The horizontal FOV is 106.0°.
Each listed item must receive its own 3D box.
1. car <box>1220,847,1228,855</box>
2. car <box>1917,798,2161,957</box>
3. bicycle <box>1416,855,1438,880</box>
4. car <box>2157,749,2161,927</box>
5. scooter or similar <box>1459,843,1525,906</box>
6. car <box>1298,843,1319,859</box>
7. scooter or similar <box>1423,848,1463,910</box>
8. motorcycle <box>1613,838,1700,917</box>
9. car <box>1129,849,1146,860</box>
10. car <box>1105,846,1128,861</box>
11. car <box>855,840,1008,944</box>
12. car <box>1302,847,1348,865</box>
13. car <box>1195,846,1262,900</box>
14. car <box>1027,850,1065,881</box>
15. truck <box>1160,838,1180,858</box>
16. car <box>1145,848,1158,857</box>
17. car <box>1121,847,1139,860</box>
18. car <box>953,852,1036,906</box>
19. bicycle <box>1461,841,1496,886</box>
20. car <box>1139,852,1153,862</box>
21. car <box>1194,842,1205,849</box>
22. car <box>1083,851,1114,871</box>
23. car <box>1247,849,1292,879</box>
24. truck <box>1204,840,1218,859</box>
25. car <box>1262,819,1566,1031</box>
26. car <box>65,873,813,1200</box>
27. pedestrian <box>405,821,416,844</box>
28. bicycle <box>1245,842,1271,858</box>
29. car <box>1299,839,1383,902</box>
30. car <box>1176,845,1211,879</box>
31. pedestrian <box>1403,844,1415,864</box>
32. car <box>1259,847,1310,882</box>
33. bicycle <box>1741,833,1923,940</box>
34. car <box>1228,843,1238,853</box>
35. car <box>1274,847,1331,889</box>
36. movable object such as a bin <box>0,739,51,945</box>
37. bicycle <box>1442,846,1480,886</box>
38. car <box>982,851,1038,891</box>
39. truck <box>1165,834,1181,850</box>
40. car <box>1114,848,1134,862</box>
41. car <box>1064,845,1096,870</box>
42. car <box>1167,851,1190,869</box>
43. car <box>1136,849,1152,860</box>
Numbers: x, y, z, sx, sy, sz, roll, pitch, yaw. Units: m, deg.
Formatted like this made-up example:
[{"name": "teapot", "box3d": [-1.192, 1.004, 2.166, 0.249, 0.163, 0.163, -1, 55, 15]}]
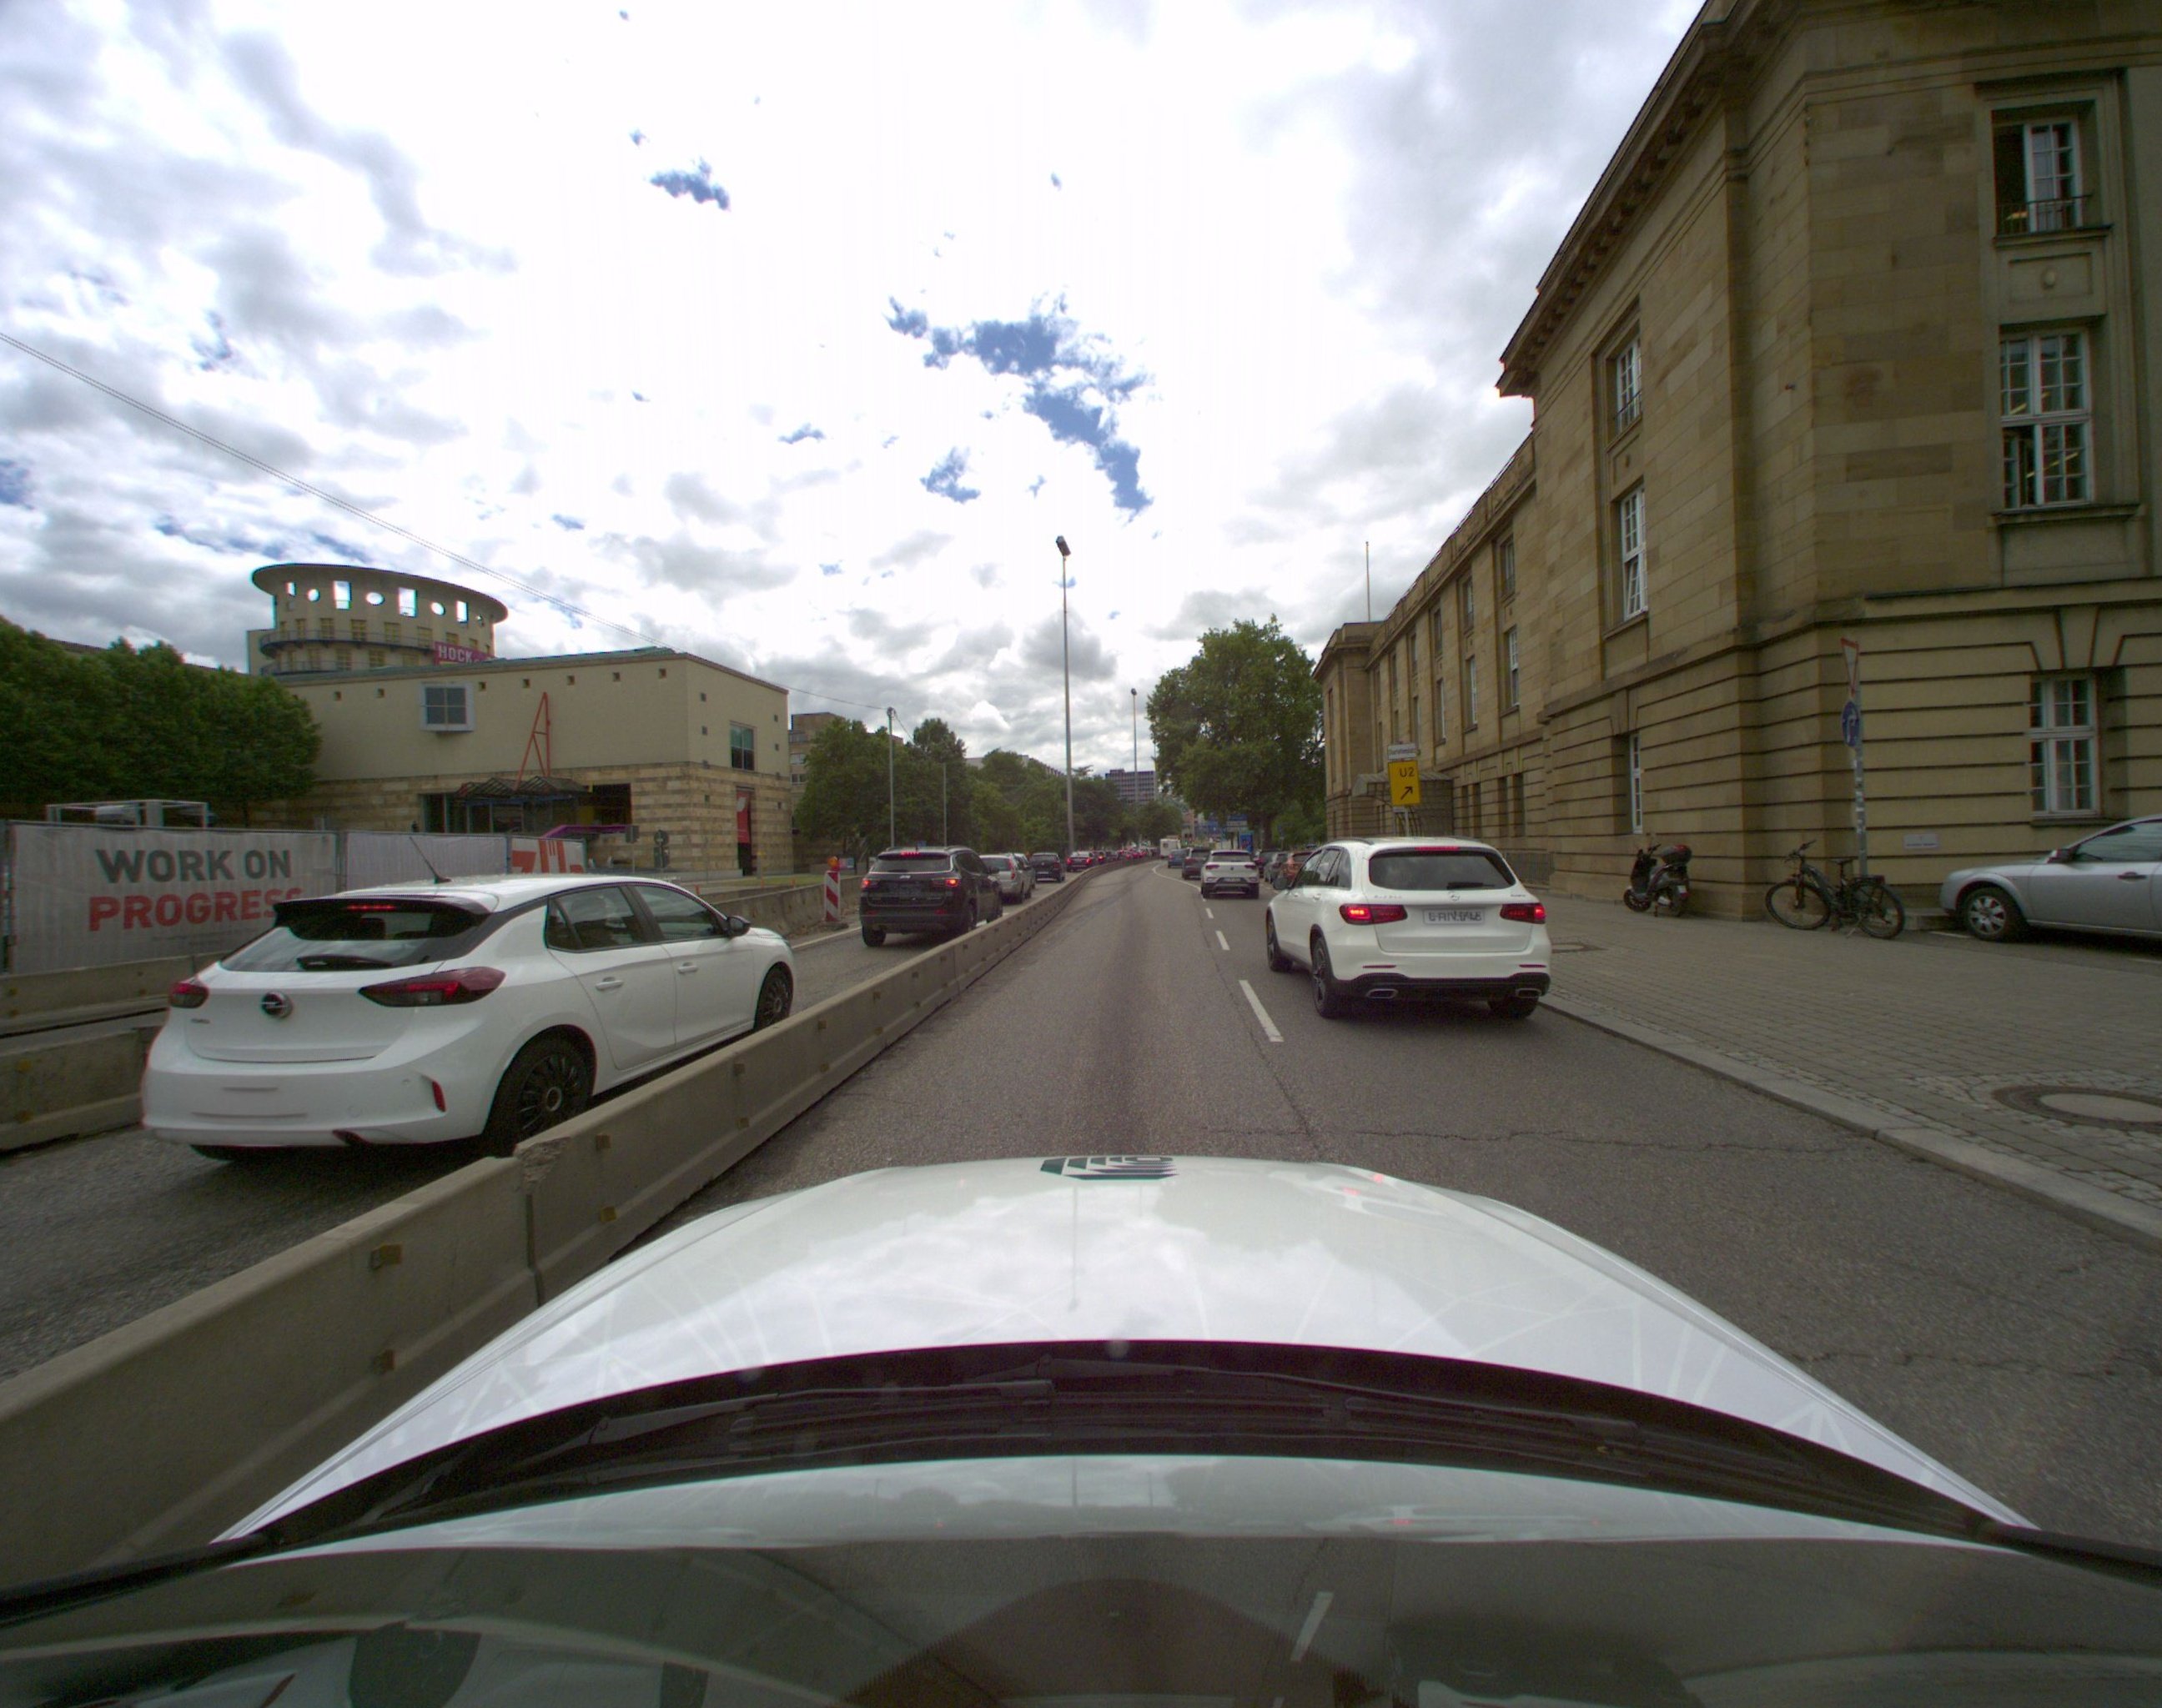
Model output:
[{"name": "car", "box3d": [32.680, -0.715, 186.374, 1.748, 1.669, 4.179, -1, 0, 9]}, {"name": "car", "box3d": [10.906, 0.205, 7.674, 1.768, 1.469, 4.584, -1, 1, 7]}, {"name": "bicycle", "box3d": [12.841, 0.490, 30.271, 0.304, 0.844, 1.883, -2, 0, 10]}, {"name": "car", "box3d": [13.186, -0.159, 6.935, 1.938, 2.069, 4.926, -1, 1, 7]}, {"name": "scooter or similar", "box3d": [8.609, 0.430, 17.119, 0.451, 1.253, 1.363, -1, -1, -12]}, {"name": "car", "box3d": [24.490, -0.340, 87.757, 1.749, 1.551, 4.038, -1, 2, 10]}, {"name": "scooter or similar", "box3d": [7.705, 0.502, 17.364, 0.377, 1.261, 1.406, -1, 0, 8]}, {"name": "motorcycle", "box3d": [9.831, 0.376, 13.986, 0.452, 1.242, 1.929, -2, 0, 12]}, {"name": "car", "box3d": [7.125, 0.028, 102.385, 1.648, 1.319, 3.558, 0, 0, 11]}, {"name": "car", "box3d": [3.463, -0.068, 78.003, 1.668, 1.367, 4.554, -1, 0, 9]}, {"name": "car", "box3d": [-2.527, 0.600, 14.739, 1.768, 1.621, 4.050, 0, 0, 4]}, {"name": "car", "box3d": [22.562, 0.197, 75.360, 3.813, 1.568, 1.683, -1, 0, 8]}, {"name": "car", "box3d": [4.779, 0.572, 26.793, 1.787, 1.608, 3.759, -1, 0, 4]}, {"name": "car", "box3d": [-1.675, 0.537, 40.310, 1.653, 1.454, 4.198, 0, 0, 1]}, {"name": "truck", "box3d": [13.024, -0.923, 119.103, 2.606, 2.861, 7.095, 0, 0, 8]}, {"name": "car", "box3d": [11.021, -0.186, 126.824, 1.649, 1.319, 3.557, 0, 0, 10]}, {"name": "car", "box3d": [5.703, -0.034, 94.901, 1.766, 1.420, 4.008, -1, 0, 7]}, {"name": "car", "box3d": [-2.552, 0.697, 25.161, 1.871, 1.481, 4.707, 0, 0, 2]}, {"name": "bicycle", "box3d": [11.877, 0.281, 24.373, 0.410, 1.288, 1.794, -1, 0, 8]}, {"name": "car", "box3d": [9.343, 0.432, 116.518, 1.649, 1.319, 3.557, 0, 0, 10]}, {"name": "car", "box3d": [22.753, -1.546, 155.925, 1.935, 1.319, 4.028, 0, 0, 10]}, {"name": "car", "box3d": [1.451, 0.566, 65.321, 1.806, 1.499, 4.781, -1, 0, 9]}, {"name": "car", "box3d": [9.857, 0.485, 42.816, 1.779, 1.486, 4.333, 0, 0, 6]}, {"name": "truck", "box3d": [28.713, -1.002, 179.888, 2.861, 4.103, 6.653, 0, 0, 8]}, {"name": "car", "box3d": [3.089, 0.562, 8.598, 1.779, 1.625, 4.445, -2, 0, 6]}, {"name": "car", "box3d": [-3.413, 0.825, 5.451, 1.719, 1.296, 3.939, 0, 0, 4]}, {"name": "pedestrian", "box3d": [-58.083, -1.845, 70.525, 0.409, 2.014, 0.602, 1, 0, 8]}, {"name": "bicycle", "box3d": [12.406, -0.288, 57.132, 1.713, 1.091, 0.383, 0, 0, 21]}, {"name": "car", "box3d": [7.386, 0.424, 23.467, 1.537, 1.552, 3.715, -4, 0, 7]}, {"name": "car", "box3d": [5.753, 0.371, 42.029, 1.650, 1.639, 3.554, -2, 0, 6]}, {"name": "pedestrian", "box3d": [14.329, 0.009, 35.565, 0.426, 0.873, 0.374, 1, 0, 9]}, {"name": "car", "box3d": [9.061, 0.451, 36.517, 1.699, 1.426, 4.005, -2, 0, 7]}, {"name": "bicycle", "box3d": [9.683, 0.383, 10.620, 0.606, 1.224, 1.965, -4, 0, 5]}, {"name": "car", "box3d": [31.445, -1.302, 168.299, 1.981, 2.013, 4.011, 0, 0, 10]}, {"name": "car", "box3d": [8.442, 0.491, 31.311, 1.606, 1.455, 3.867, -3, 0, 8]}, {"name": "movable object such as a bin", "box3d": [-12.289, -0.104, 7.399, 1.515, 2.185, 3.296, -1, 0, 4]}, {"name": "bicycle", "box3d": [12.208, 0.362, 26.196, 0.552, 1.217, 1.920, -1, 0, 8]}, {"name": "car", "box3d": [-2.775, 0.642, 32.463, 1.665, 1.507, 3.857, 0, 0, 3]}, {"name": "truck", "box3d": [17.573, -2.227, 155.280, 2.677, 2.991, 5.650, 1, 0, 8]}, {"name": "car", "box3d": [4.598, 0.153, 86.373, 1.652, 1.436, 3.970, 0, 0, 9]}, {"name": "car", "box3d": [0.004, 0.238, 57.407, 1.915, 1.636, 4.941, 0, 0, 4]}, {"name": "car", "box3d": [7.857, 0.477, 65.508, 1.649, 1.413, 3.556, 0, 0, 8]}, {"name": "car", "box3d": [8.375, 0.057, 107.375, 1.648, 1.319, 3.559, 0, 0, 12]}]
